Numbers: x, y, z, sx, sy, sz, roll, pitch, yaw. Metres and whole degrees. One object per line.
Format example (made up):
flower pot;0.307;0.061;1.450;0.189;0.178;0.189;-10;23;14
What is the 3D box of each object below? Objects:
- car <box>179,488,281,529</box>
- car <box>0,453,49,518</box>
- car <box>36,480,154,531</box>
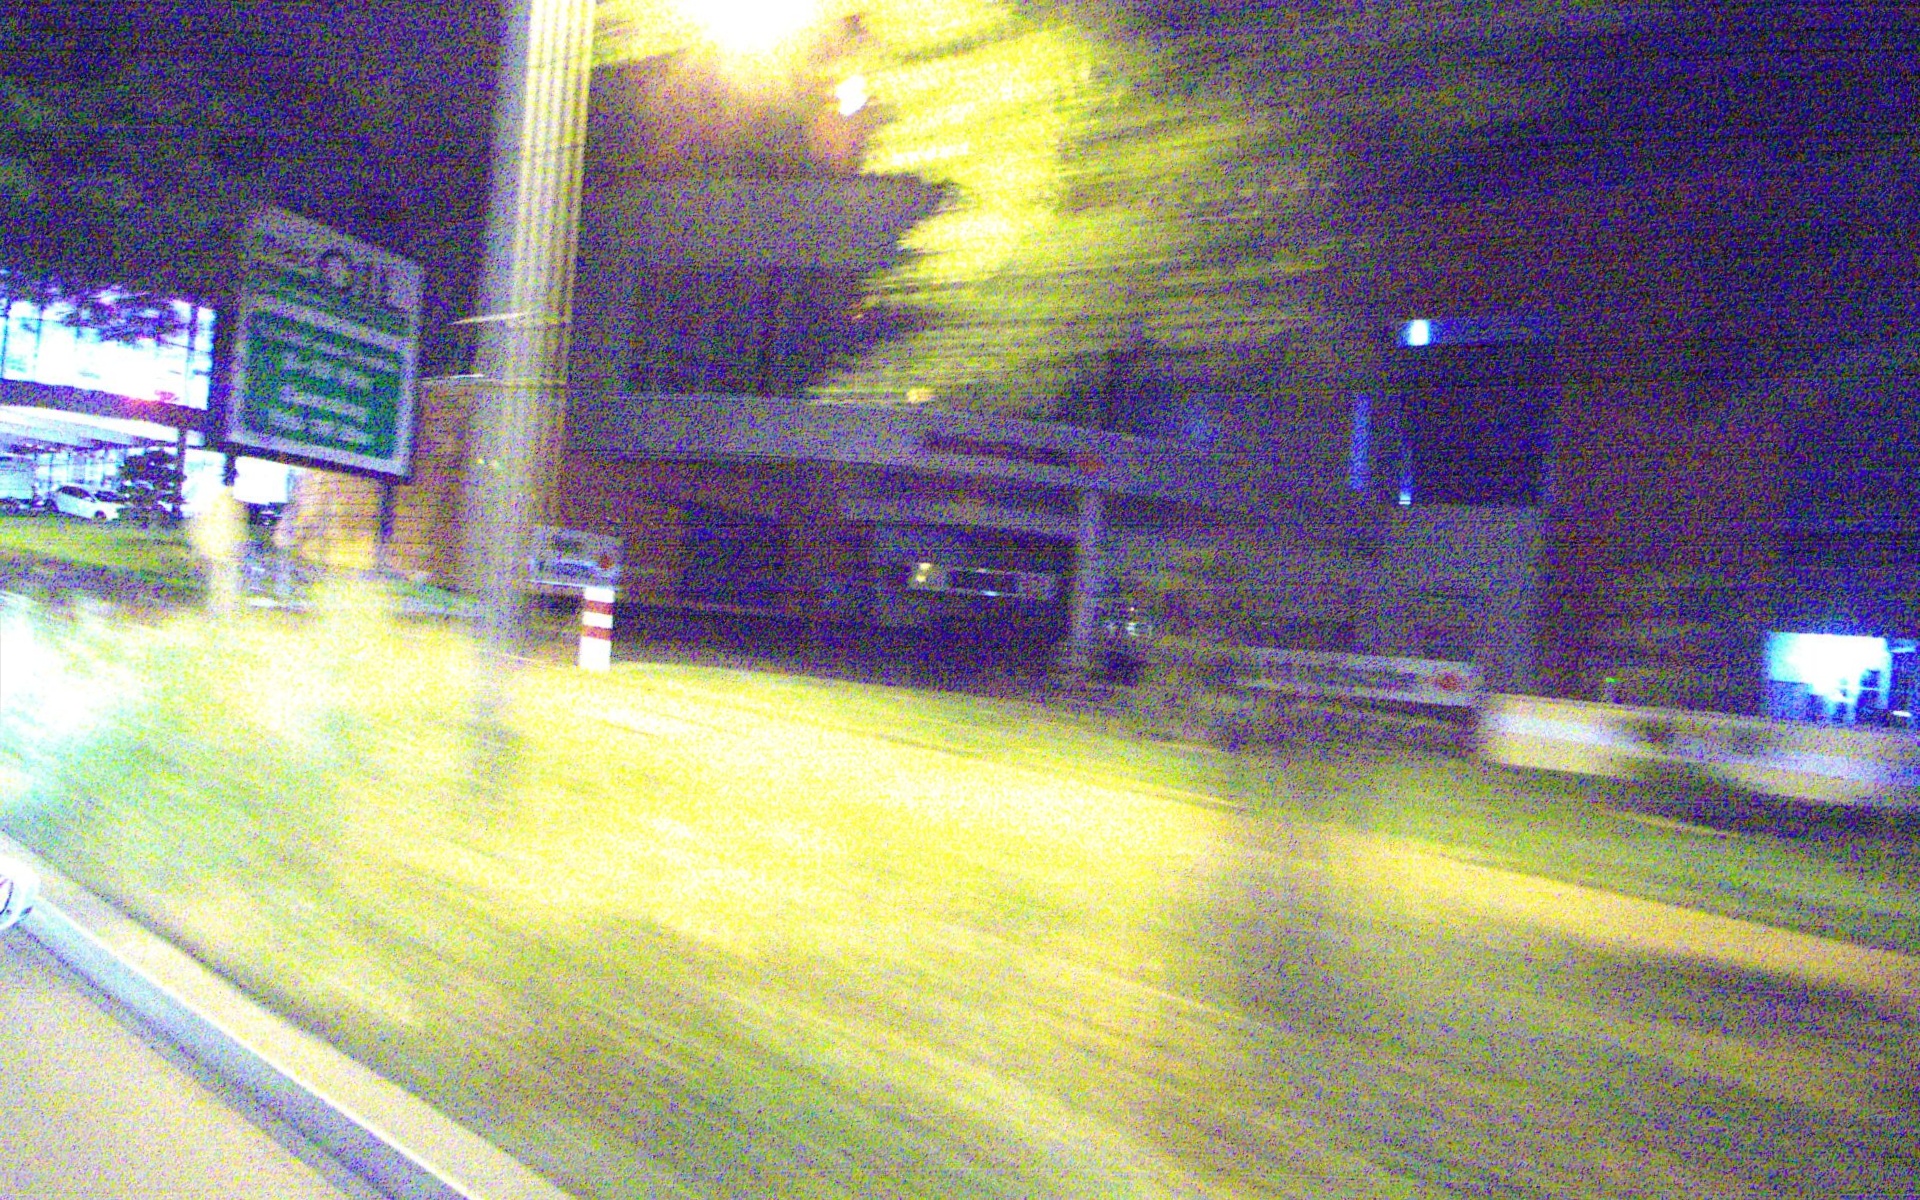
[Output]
car;-35.752;-4.468;49.302;3.891;1.600;1.797;6;4;10
car;-40.490;-4.761;40.037;2.240;2.565;6.027;6;4;15
car;-38.126;-4.158;44.362;3.891;1.735;1.810;6;2;10
